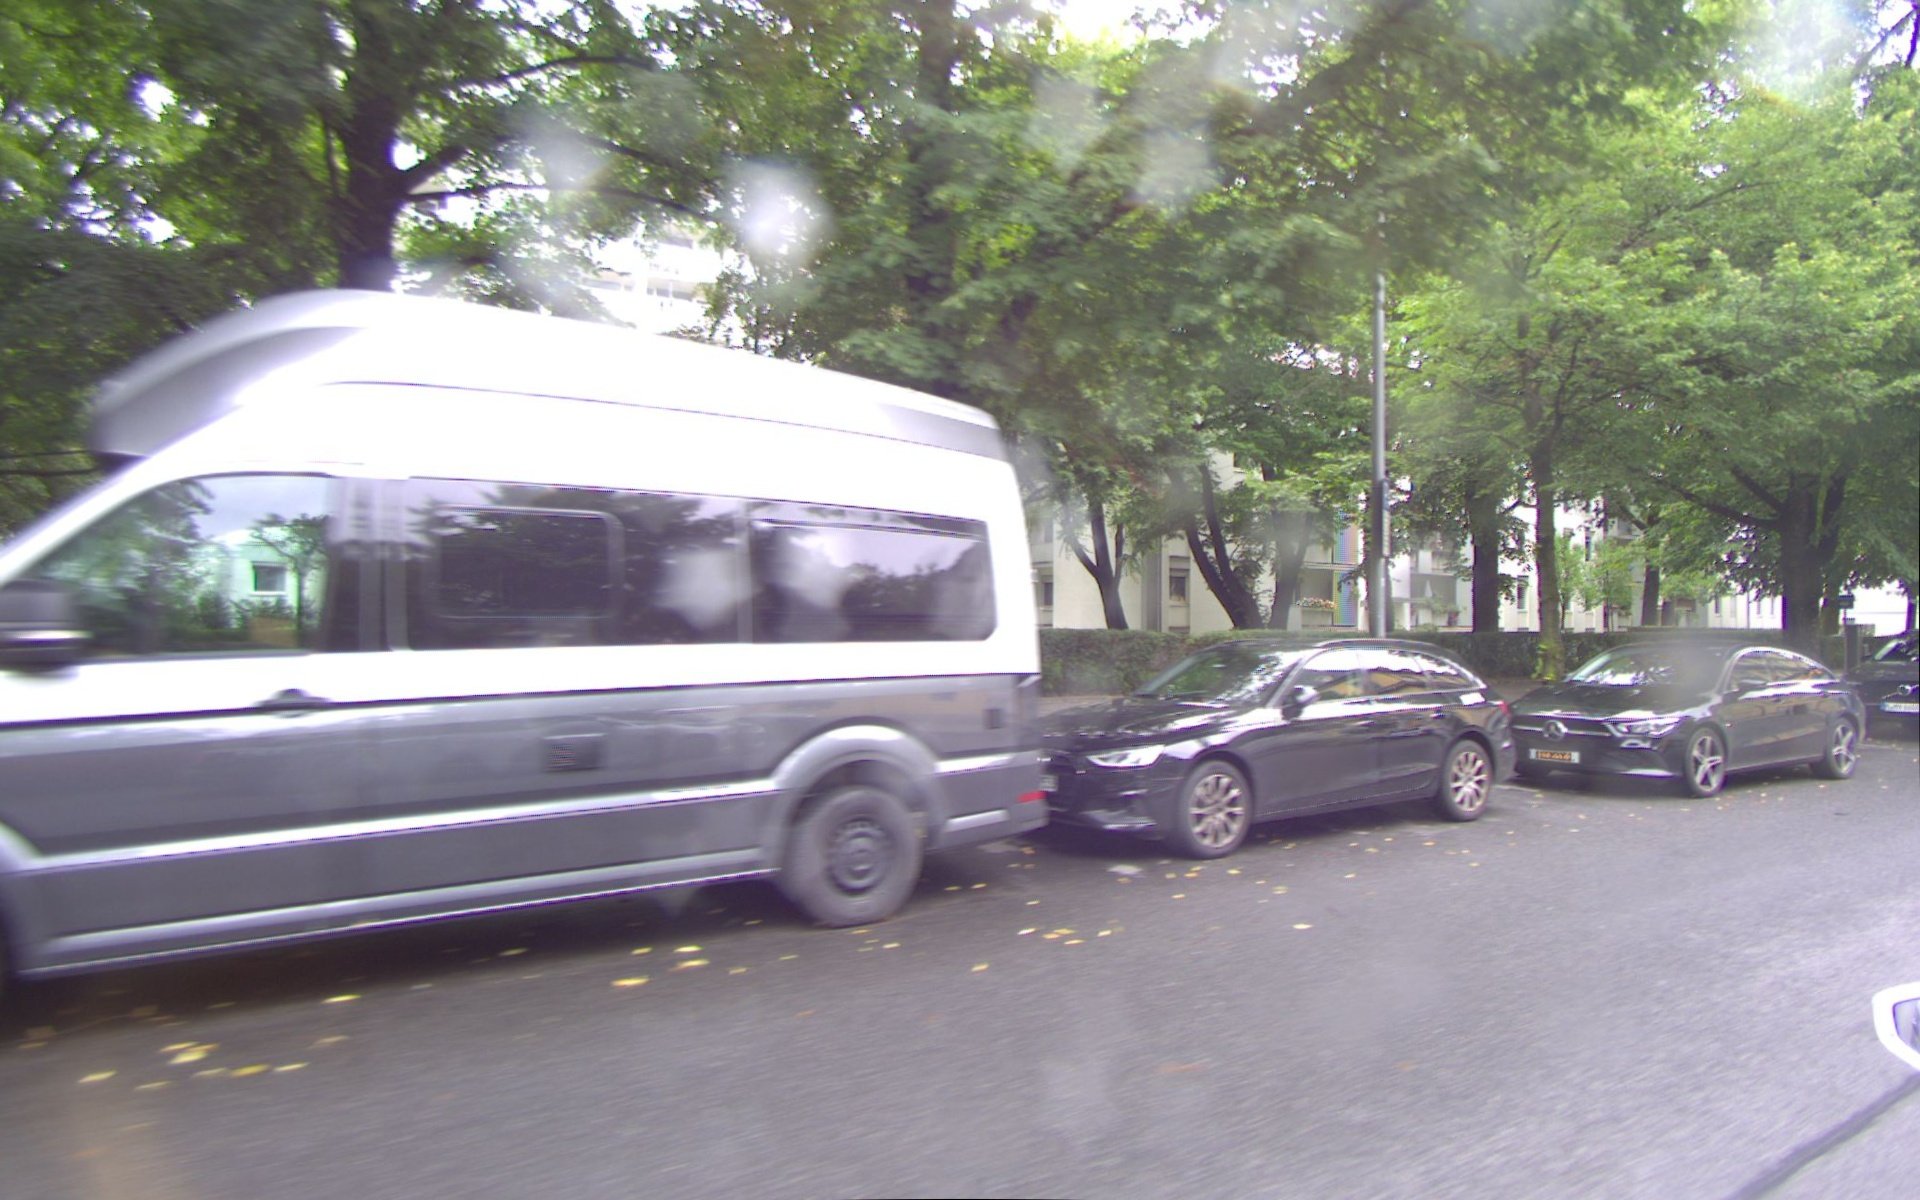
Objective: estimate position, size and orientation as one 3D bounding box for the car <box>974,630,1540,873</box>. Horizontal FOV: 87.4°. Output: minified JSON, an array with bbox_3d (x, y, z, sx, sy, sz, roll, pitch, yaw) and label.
[{"bbox_3d":[2.487,0.977,8.059,4.525,1.457,1.781,1,-2,-31],"label":"car"}]

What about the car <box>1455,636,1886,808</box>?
[{"bbox_3d":[7.466,1.165,10.487,4.492,1.457,1.784,2,-2,-27],"label":"car"}]

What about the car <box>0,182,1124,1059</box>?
[{"bbox_3d":[-2.206,0.145,5.022,6.164,2.892,1.935,3,-2,-31],"label":"car"}]

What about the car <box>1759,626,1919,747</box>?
[{"bbox_3d":[13.042,1.157,14.043,3.906,1.473,1.780,3,-2,-33],"label":"car"}]
